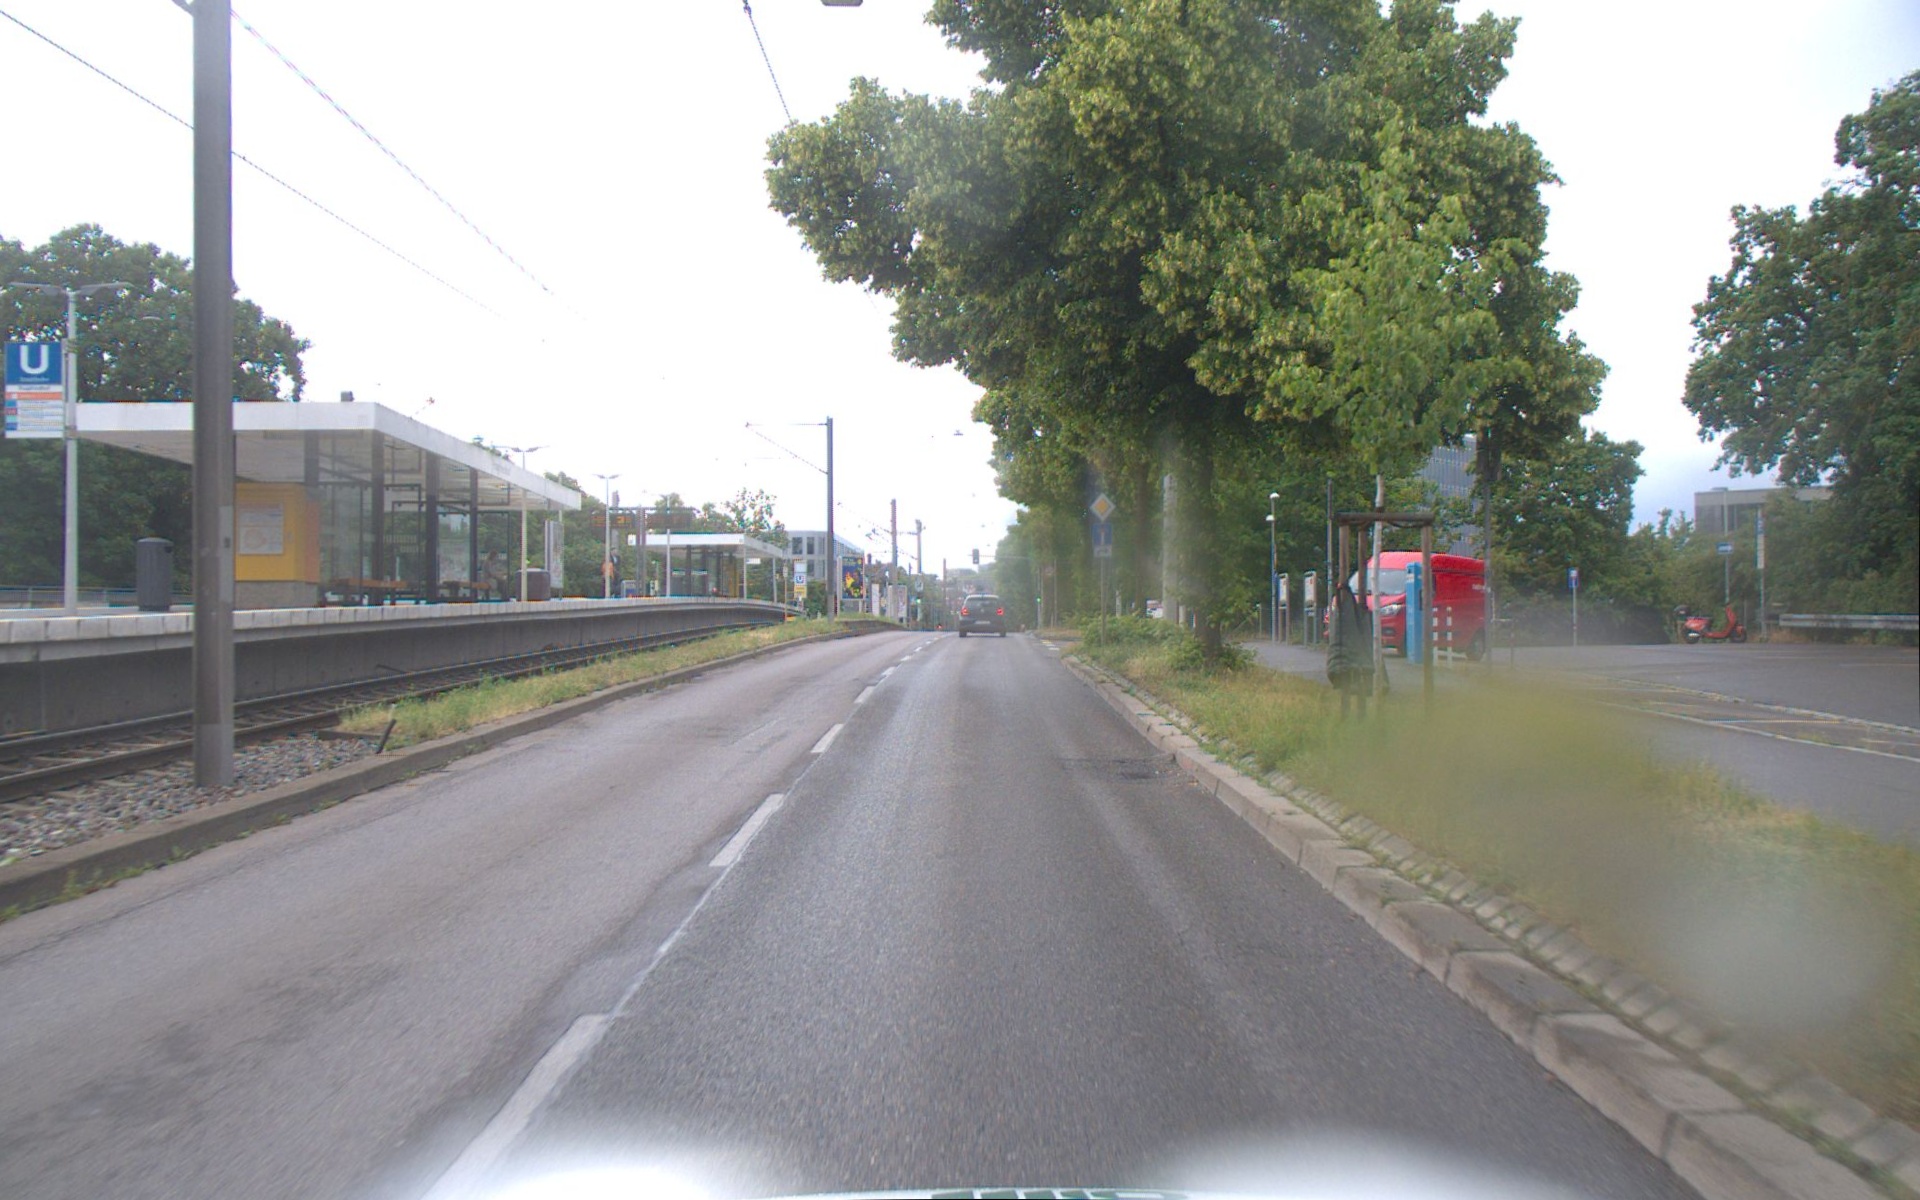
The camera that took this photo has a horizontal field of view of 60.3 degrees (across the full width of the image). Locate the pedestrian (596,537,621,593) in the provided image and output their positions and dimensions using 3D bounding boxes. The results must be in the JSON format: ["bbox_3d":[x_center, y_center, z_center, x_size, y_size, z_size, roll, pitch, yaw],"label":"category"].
[{"bbox_3d":[-12.371,-1.246,58.251,0.732,1.942,0.837,1,2,-20],"label":"pedestrian"}]

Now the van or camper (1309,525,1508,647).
[{"bbox_3d":[10.247,-0.270,37.485,2.006,2.447,5.357,5,1,42],"label":"van or camper"}]

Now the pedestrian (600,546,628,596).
[{"bbox_3d":[-12.032,-1.013,57.465,0.783,1.675,0.913,1,2,-21],"label":"pedestrian"}]

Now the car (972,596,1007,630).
[{"bbox_3d":[1.418,0.615,80.795,1.653,1.544,4.000,0,1,0],"label":"car"}]

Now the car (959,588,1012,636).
[{"bbox_3d":[0.865,0.387,58.378,1.692,1.567,3.999,0,1,-1],"label":"car"}]

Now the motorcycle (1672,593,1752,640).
[{"bbox_3d":[21.155,0.474,46.569,1.986,1.235,0.471,-3,-7,40],"label":"motorcycle"}]

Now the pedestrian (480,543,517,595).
[{"bbox_3d":[-11.001,-0.737,39.401,0.696,1.247,0.619,0,0,0],"label":"pedestrian"}]
